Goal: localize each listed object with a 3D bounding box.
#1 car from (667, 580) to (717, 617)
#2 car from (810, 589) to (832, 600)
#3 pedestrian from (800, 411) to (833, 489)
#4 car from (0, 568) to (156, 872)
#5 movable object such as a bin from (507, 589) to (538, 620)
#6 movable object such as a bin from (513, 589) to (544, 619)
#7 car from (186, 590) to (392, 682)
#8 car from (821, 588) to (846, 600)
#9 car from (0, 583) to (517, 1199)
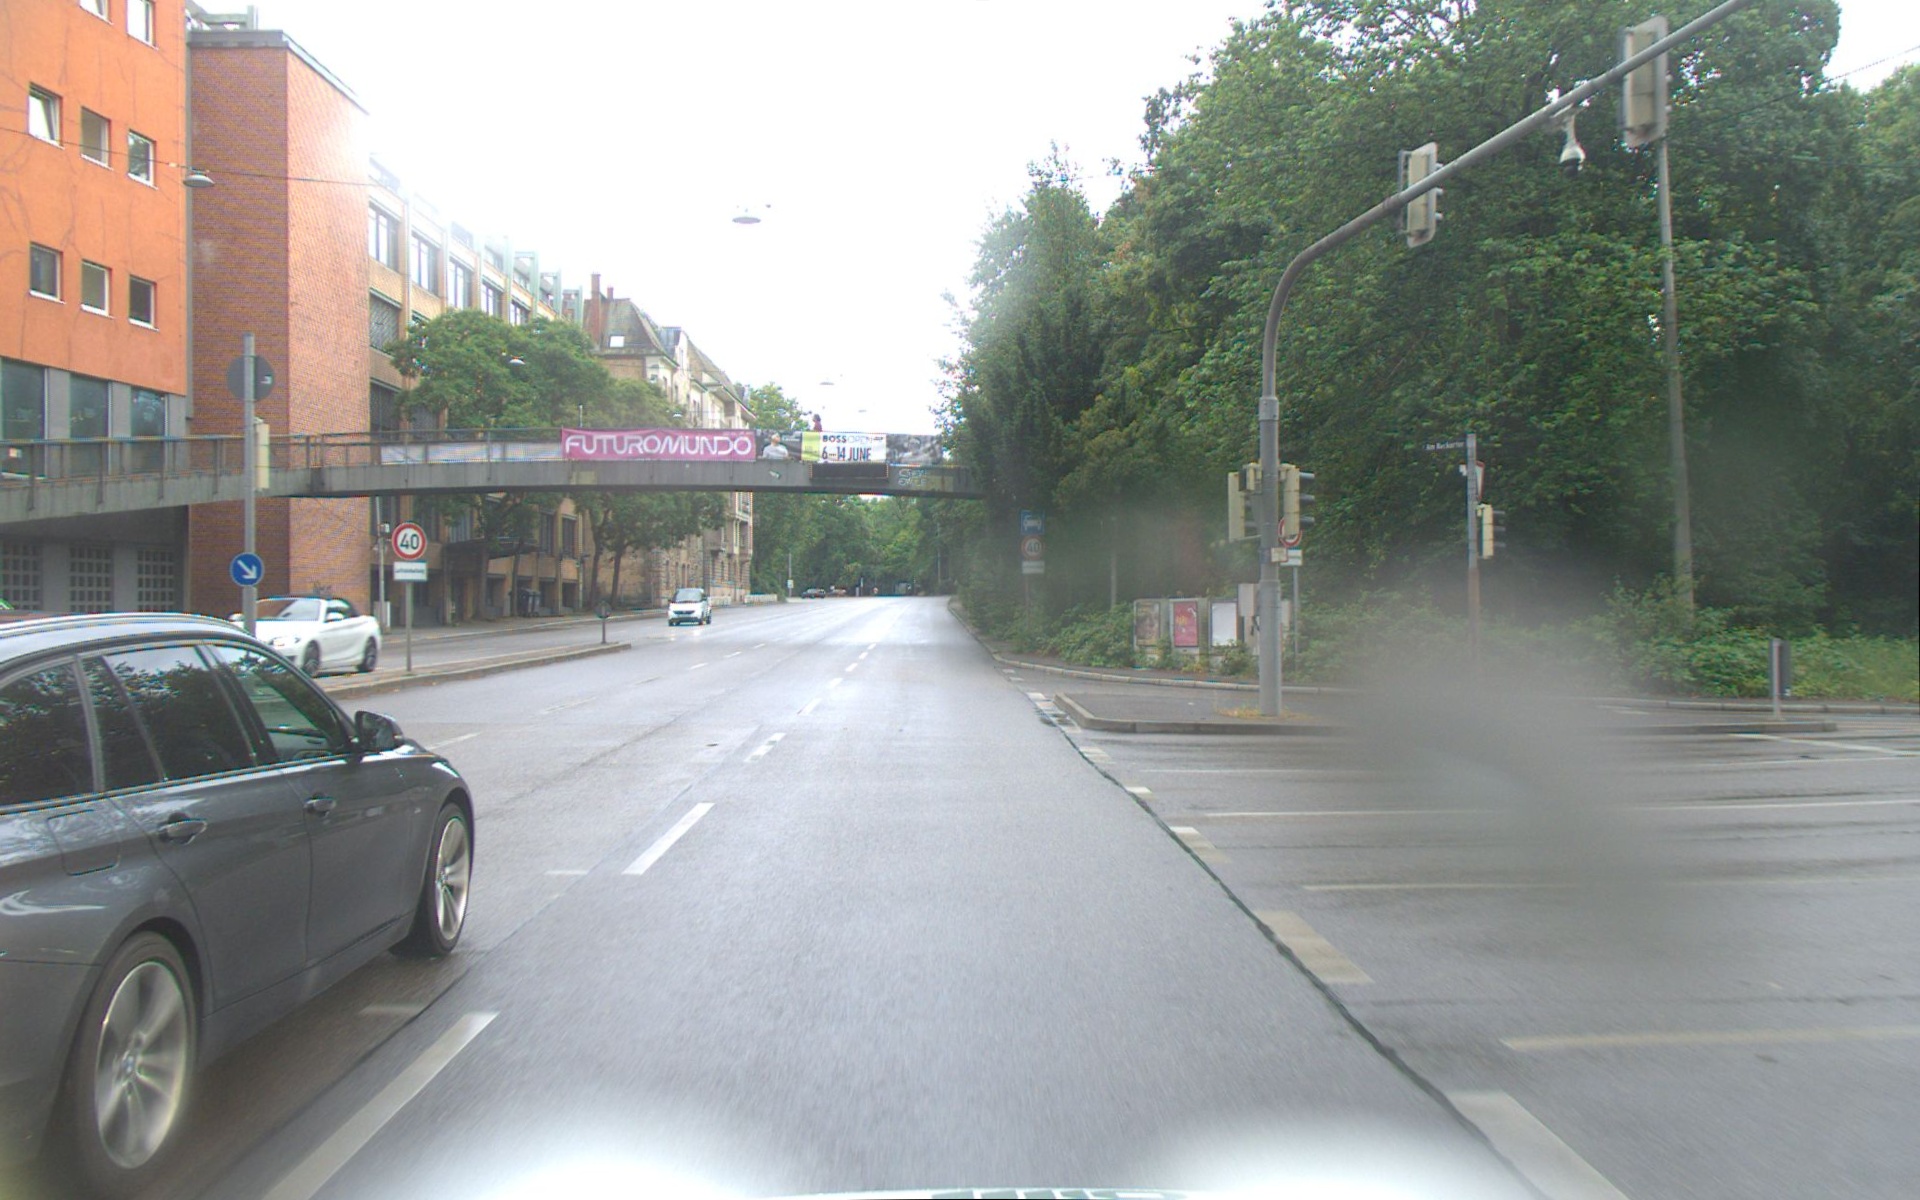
[{"bbox_3d":[-11.598,-0.050,71.718,1.568,1.525,3.711,-1,0,-1],"label":"car"},{"bbox_3d":[-19.864,-0.782,236.875,1.976,1.672,4.347,0,0,-22],"label":"car"},{"bbox_3d":[-4.618,-4.824,53.333,0.936,2.386,1.005,2,-1,-7],"label":"pedestrian"},{"bbox_3d":[-6.204,0.633,8.638,1.772,1.684,4.444,2,0,0],"label":"car"},{"bbox_3d":[-22.084,0.216,83.491,1.256,1.545,1.273,0,0,-1],"label":"movable object such as a bin"},{"bbox_3d":[-22.206,0.206,85.125,1.272,1.545,1.214,0,0,-1],"label":"movable object such as a bin"},{"bbox_3d":[-11.473,0.578,28.614,1.793,1.418,4.404,-1,0,-1],"label":"car"},{"bbox_3d":[-19.119,-0.930,250.351,3.514,1.574,1.613,2,0,0],"label":"car"},{"bbox_3d":[-2.847,0.710,5.160,1.740,1.483,4.477,0,0,0],"label":"car"}]
